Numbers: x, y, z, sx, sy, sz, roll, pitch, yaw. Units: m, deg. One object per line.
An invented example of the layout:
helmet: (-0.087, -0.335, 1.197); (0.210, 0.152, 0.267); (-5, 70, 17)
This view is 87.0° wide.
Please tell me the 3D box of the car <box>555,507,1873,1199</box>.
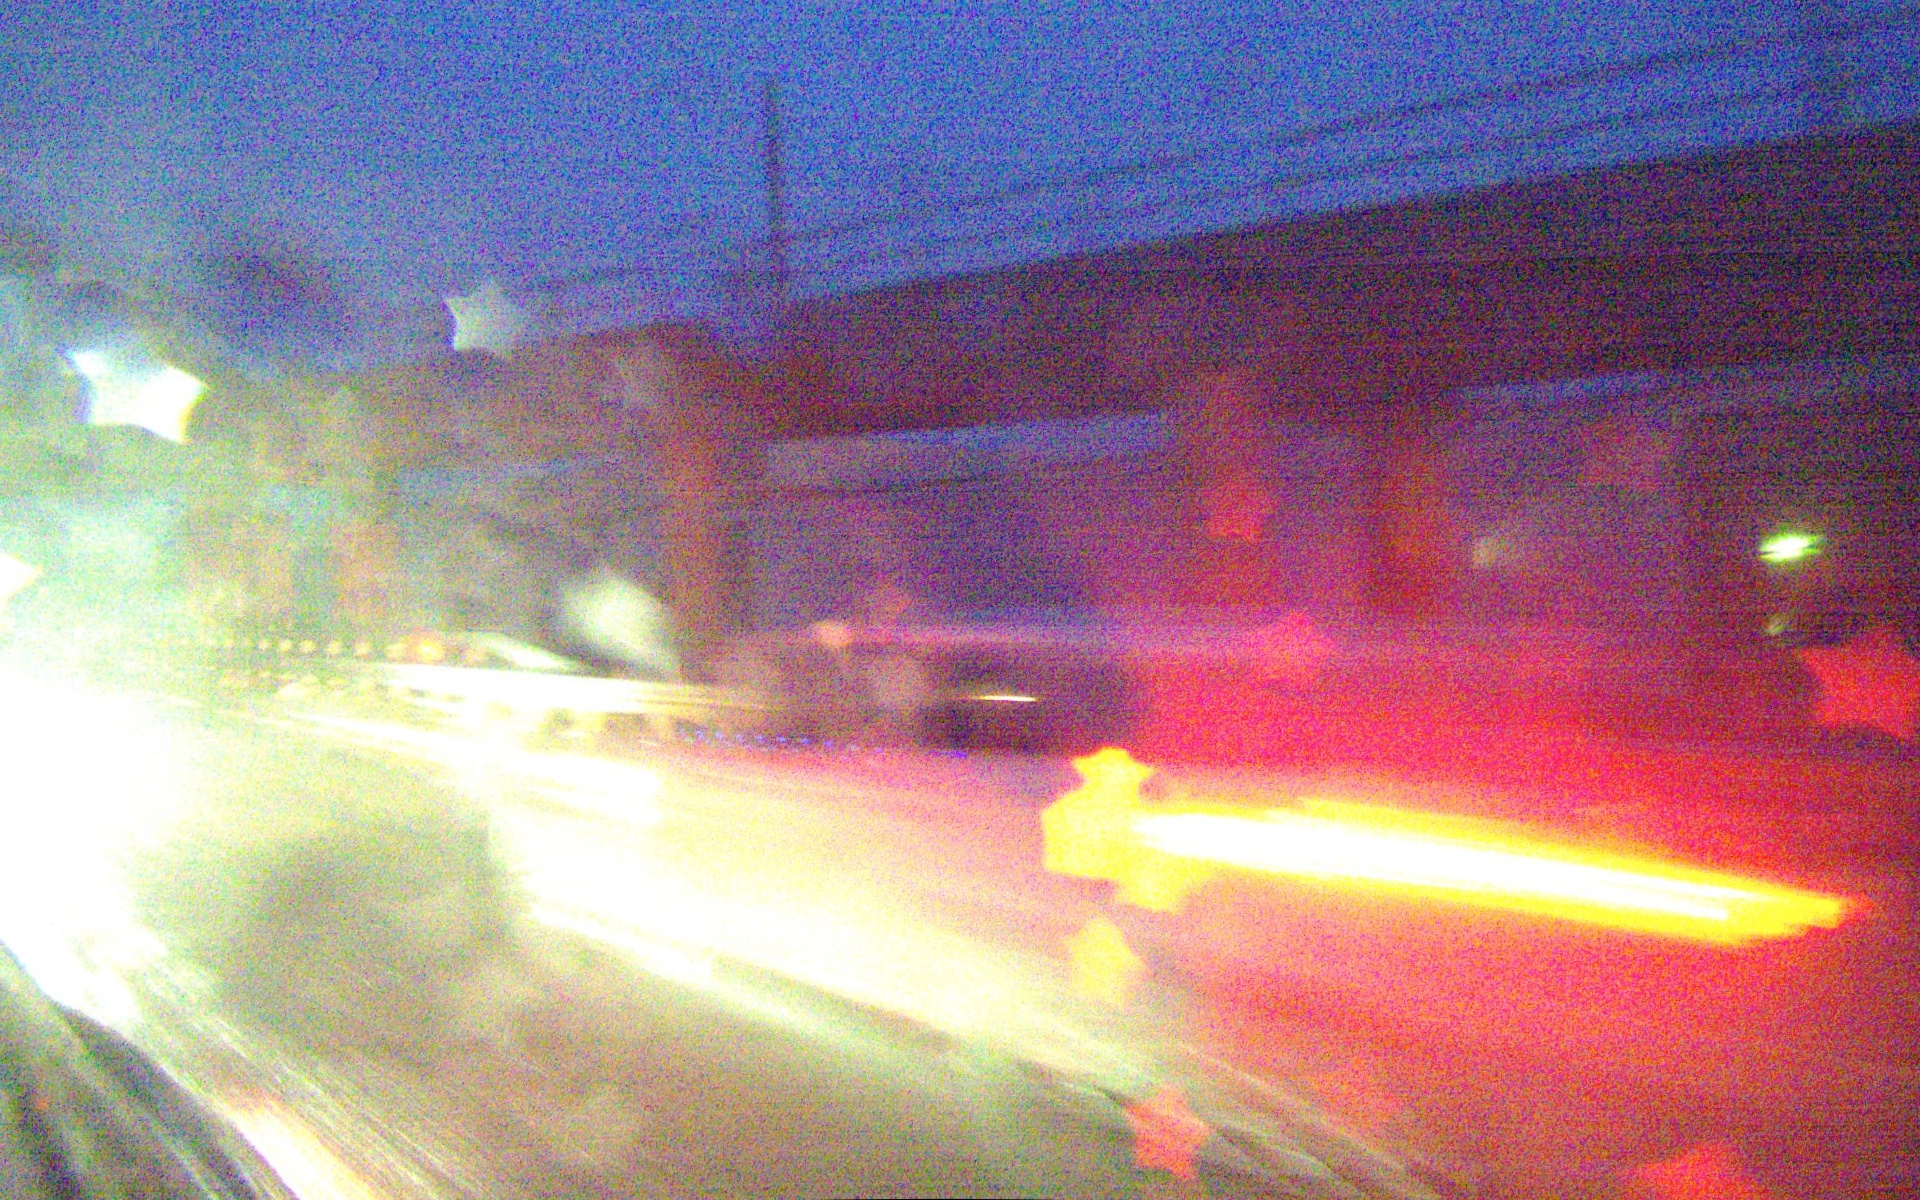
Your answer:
car: (0.460, 0.691, 3.750); (4.225, 1.556, 1.843); (-3, -1, 40)
